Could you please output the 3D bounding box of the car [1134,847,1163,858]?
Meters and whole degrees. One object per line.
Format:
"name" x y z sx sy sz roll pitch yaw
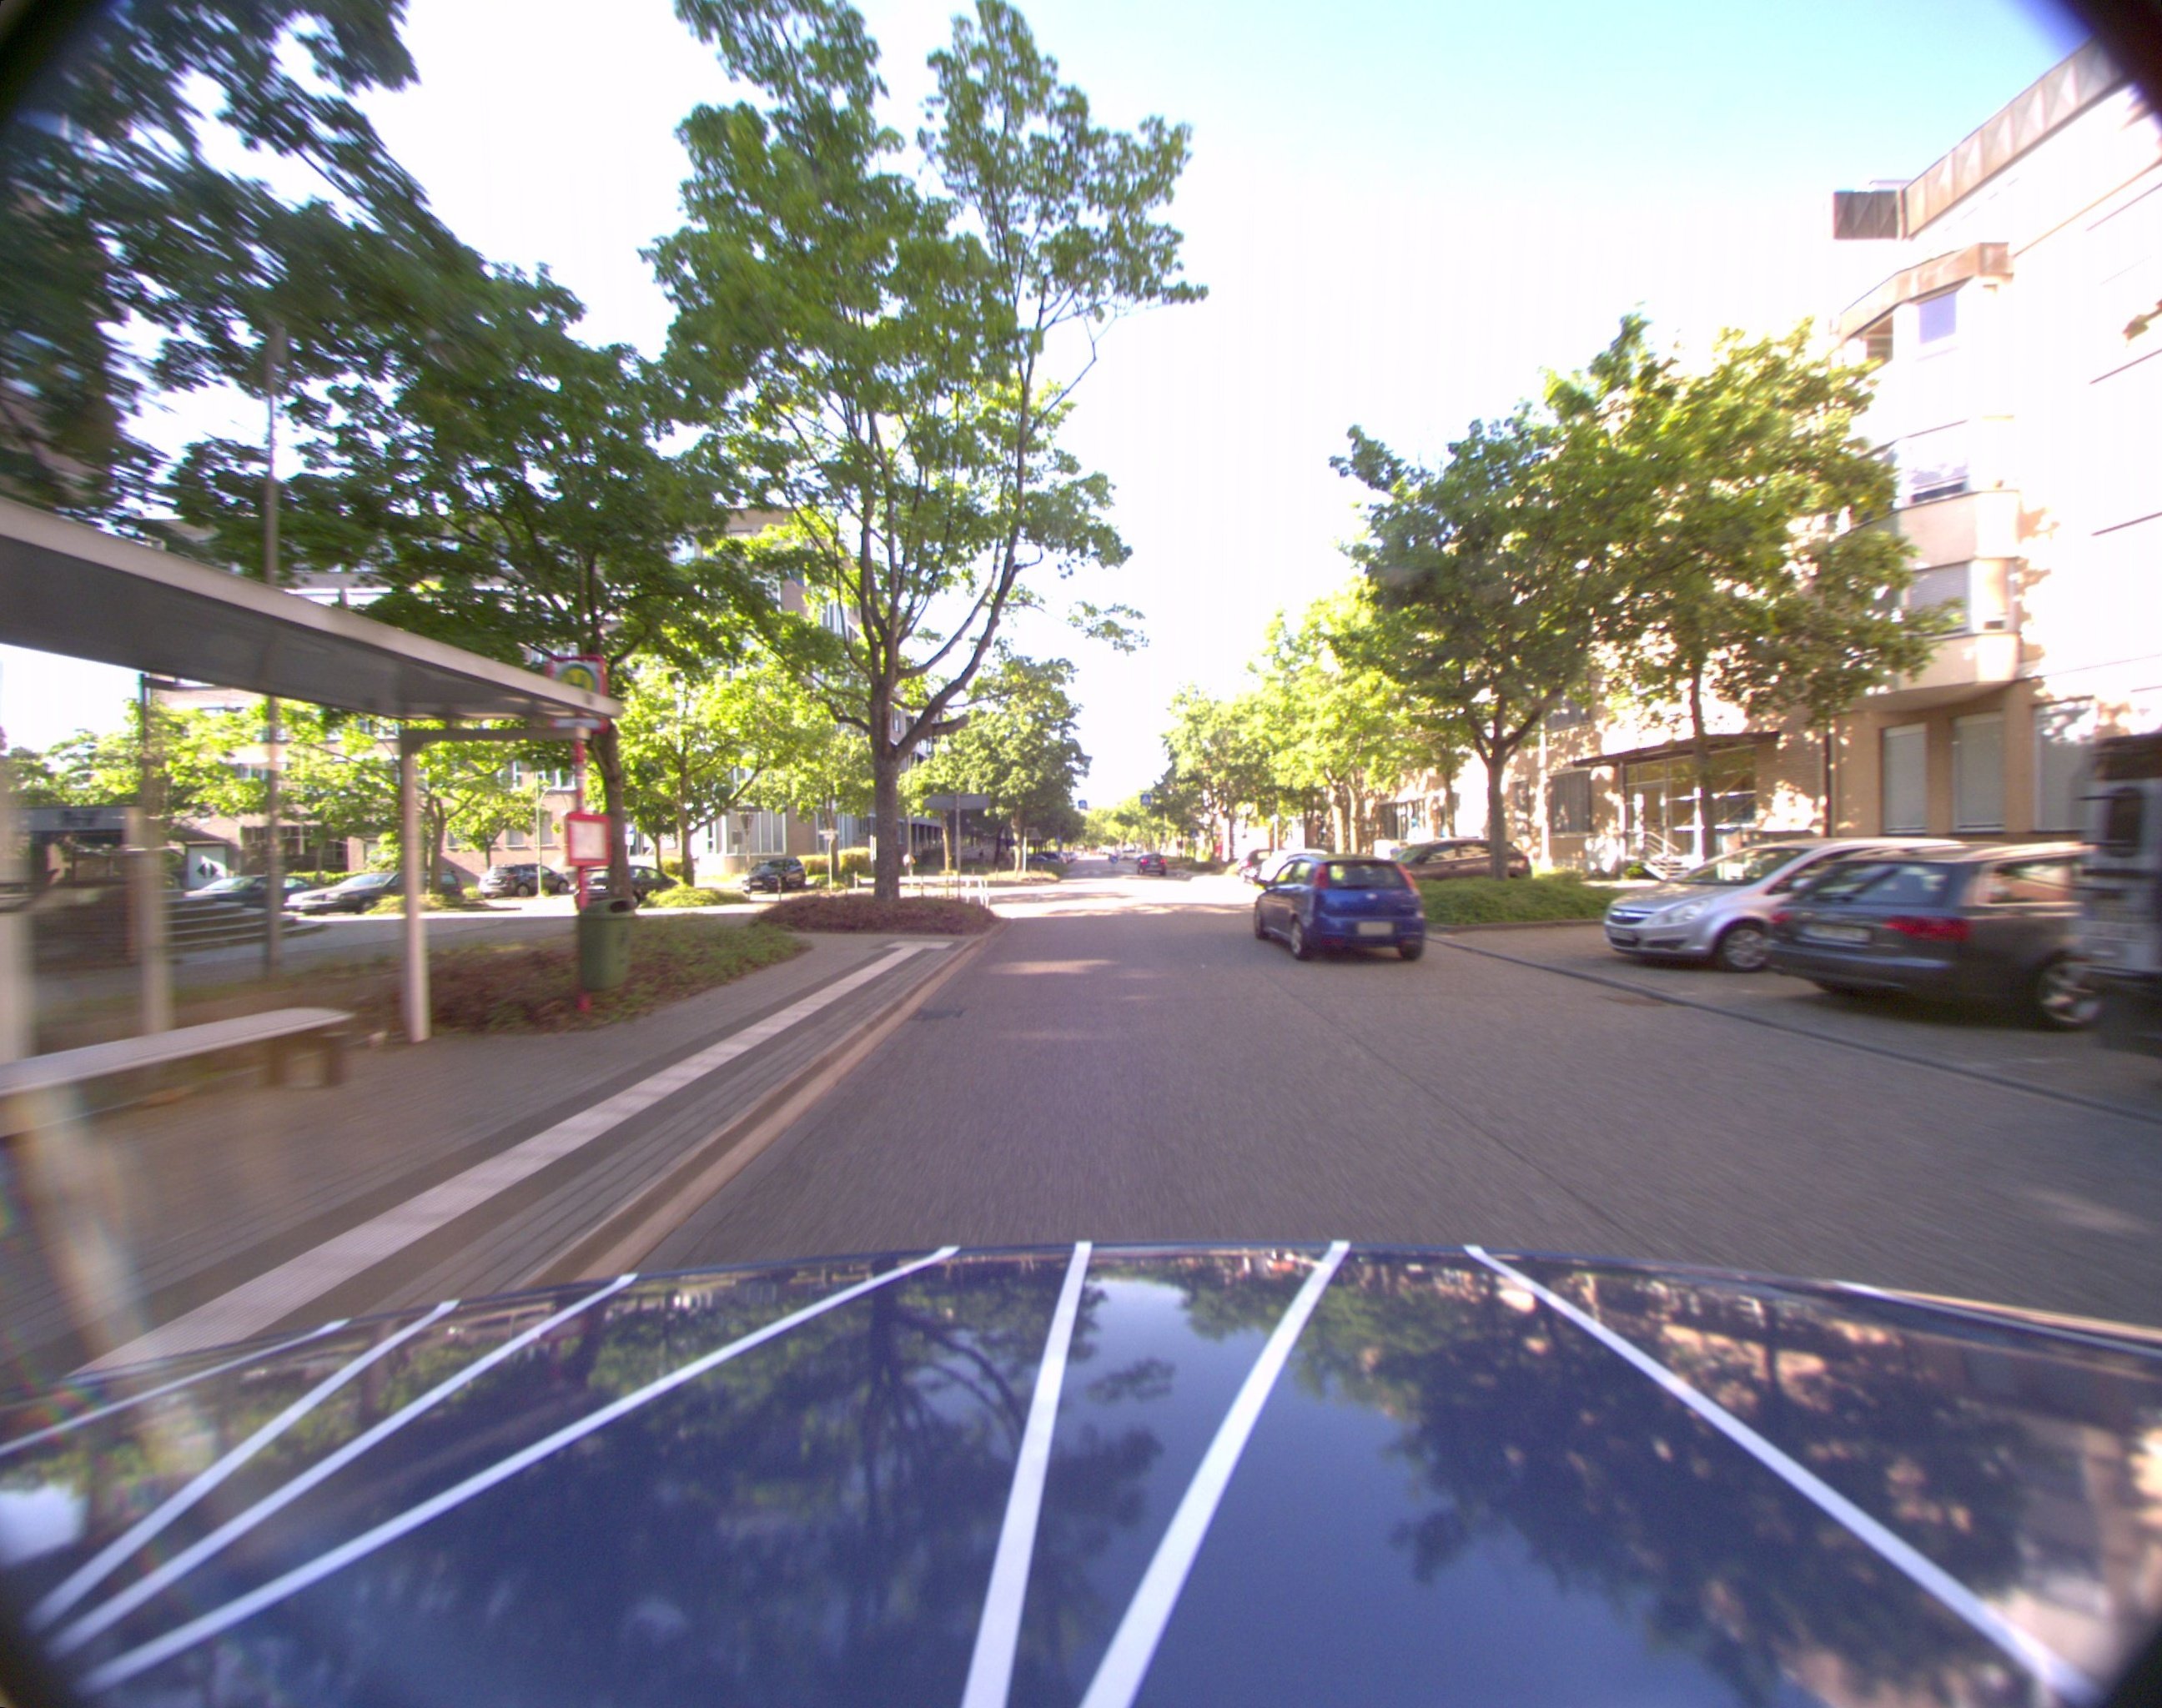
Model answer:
"car" 9.616 -0.206 108.537 4.003 1.411 1.618 -2 1 0

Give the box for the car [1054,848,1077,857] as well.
"car" -2.647 -0.259 133.163 3.998 1.471 1.804 -1 1 -2

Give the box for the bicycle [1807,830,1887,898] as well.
"bicycle" 17.020 0.204 16.887 1.731 1.401 0.613 -3 1 -22

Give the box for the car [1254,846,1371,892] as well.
"car" 8.511 0.532 28.161 3.764 1.444 1.754 -3 1 0

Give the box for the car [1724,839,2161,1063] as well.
"car" 8.186 0.692 6.571 3.789 1.484 1.832 -3 1 -4

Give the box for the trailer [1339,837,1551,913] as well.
"trailer" 8.827 0.472 18.650 4.272 1.563 1.855 -3 1 -3

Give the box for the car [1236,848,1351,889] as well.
"car" 8.626 0.559 31.105 4.162 1.394 1.801 -3 1 0

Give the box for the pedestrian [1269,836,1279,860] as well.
"pedestrian" 16.465 -0.486 64.806 0.623 1.911 0.670 -2 13 2

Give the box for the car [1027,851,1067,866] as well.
"car" -3.549 0.434 78.916 4.136 1.453 1.659 1 1 -4

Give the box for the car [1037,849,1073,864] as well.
"car" -3.090 0.269 88.571 4.136 1.657 1.907 -1 1 -4

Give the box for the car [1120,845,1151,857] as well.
"car" 9.381 -0.530 130.981 5.317 1.876 2.000 -1 1 2

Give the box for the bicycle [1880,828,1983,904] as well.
"bicycle" 17.076 0.220 15.252 1.730 1.401 0.614 -3 1 -13

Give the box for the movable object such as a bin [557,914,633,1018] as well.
"movable object such as a bin" -3.858 0.875 6.051 0.299 0.749 0.467 1 1 1

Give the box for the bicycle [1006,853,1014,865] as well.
"bicycle" -6.418 0.449 68.823 0.535 1.072 1.920 -1 1 2

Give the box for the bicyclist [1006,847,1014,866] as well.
"bicyclist" -6.425 0.218 68.830 0.538 1.627 0.822 -1 1 1

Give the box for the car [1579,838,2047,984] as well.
"car" 8.548 0.631 9.189 3.843 1.452 1.733 -3 1 4

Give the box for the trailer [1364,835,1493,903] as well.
"trailer" 9.591 0.404 21.131 2.732 1.677 1.712 -3 1 1

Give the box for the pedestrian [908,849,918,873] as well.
"pedestrian" -10.737 0.448 48.678 0.539 1.573 0.648 -1 1 -9

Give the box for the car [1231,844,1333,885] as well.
"car" 8.839 0.445 33.699 3.997 1.561 1.728 -4 1 0

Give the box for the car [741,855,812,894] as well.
"car" -14.694 0.929 36.909 1.742 1.557 4.363 -2 3 -2

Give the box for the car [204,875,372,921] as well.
"car" -26.933 1.458 26.013 1.626 1.360 4.000 -3 -2 -3

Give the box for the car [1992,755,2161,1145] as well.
"car" 7.867 0.404 3.714 4.493 2.040 1.999 -3 1 -1

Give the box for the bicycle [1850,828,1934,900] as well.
"bicycle" 17.168 0.197 16.074 1.731 1.401 0.613 -3 1 -22

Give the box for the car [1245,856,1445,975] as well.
"car" 3.730 0.776 11.504 1.648 1.412 4.000 -1 0 0

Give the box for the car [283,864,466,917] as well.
"car" -22.526 1.111 24.497 1.693 1.452 4.273 -1 1 4

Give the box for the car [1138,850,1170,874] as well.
"car" 4.838 0.527 51.090 1.784 1.503 4.000 -1 1 1

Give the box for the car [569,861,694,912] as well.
"car" -14.325 0.985 24.505 1.656 1.454 3.917 -1 0 0

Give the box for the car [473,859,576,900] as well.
"car" -27.140 1.213 37.217 1.702 1.577 3.999 -2 3 7

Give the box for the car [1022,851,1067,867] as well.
"car" -3.394 0.466 70.323 4.127 1.363 1.654 1 1 -3

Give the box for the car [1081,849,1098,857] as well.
"car" 1.787 -0.181 157.156 3.554 1.544 1.743 0 -1 -2

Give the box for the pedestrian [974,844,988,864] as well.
"pedestrian" -9.274 -0.012 70.430 1.037 1.788 1.018 -3 1 0

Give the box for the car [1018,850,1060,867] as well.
"car" -4.129 0.466 75.070 4.136 1.581 1.659 1 2 -4
